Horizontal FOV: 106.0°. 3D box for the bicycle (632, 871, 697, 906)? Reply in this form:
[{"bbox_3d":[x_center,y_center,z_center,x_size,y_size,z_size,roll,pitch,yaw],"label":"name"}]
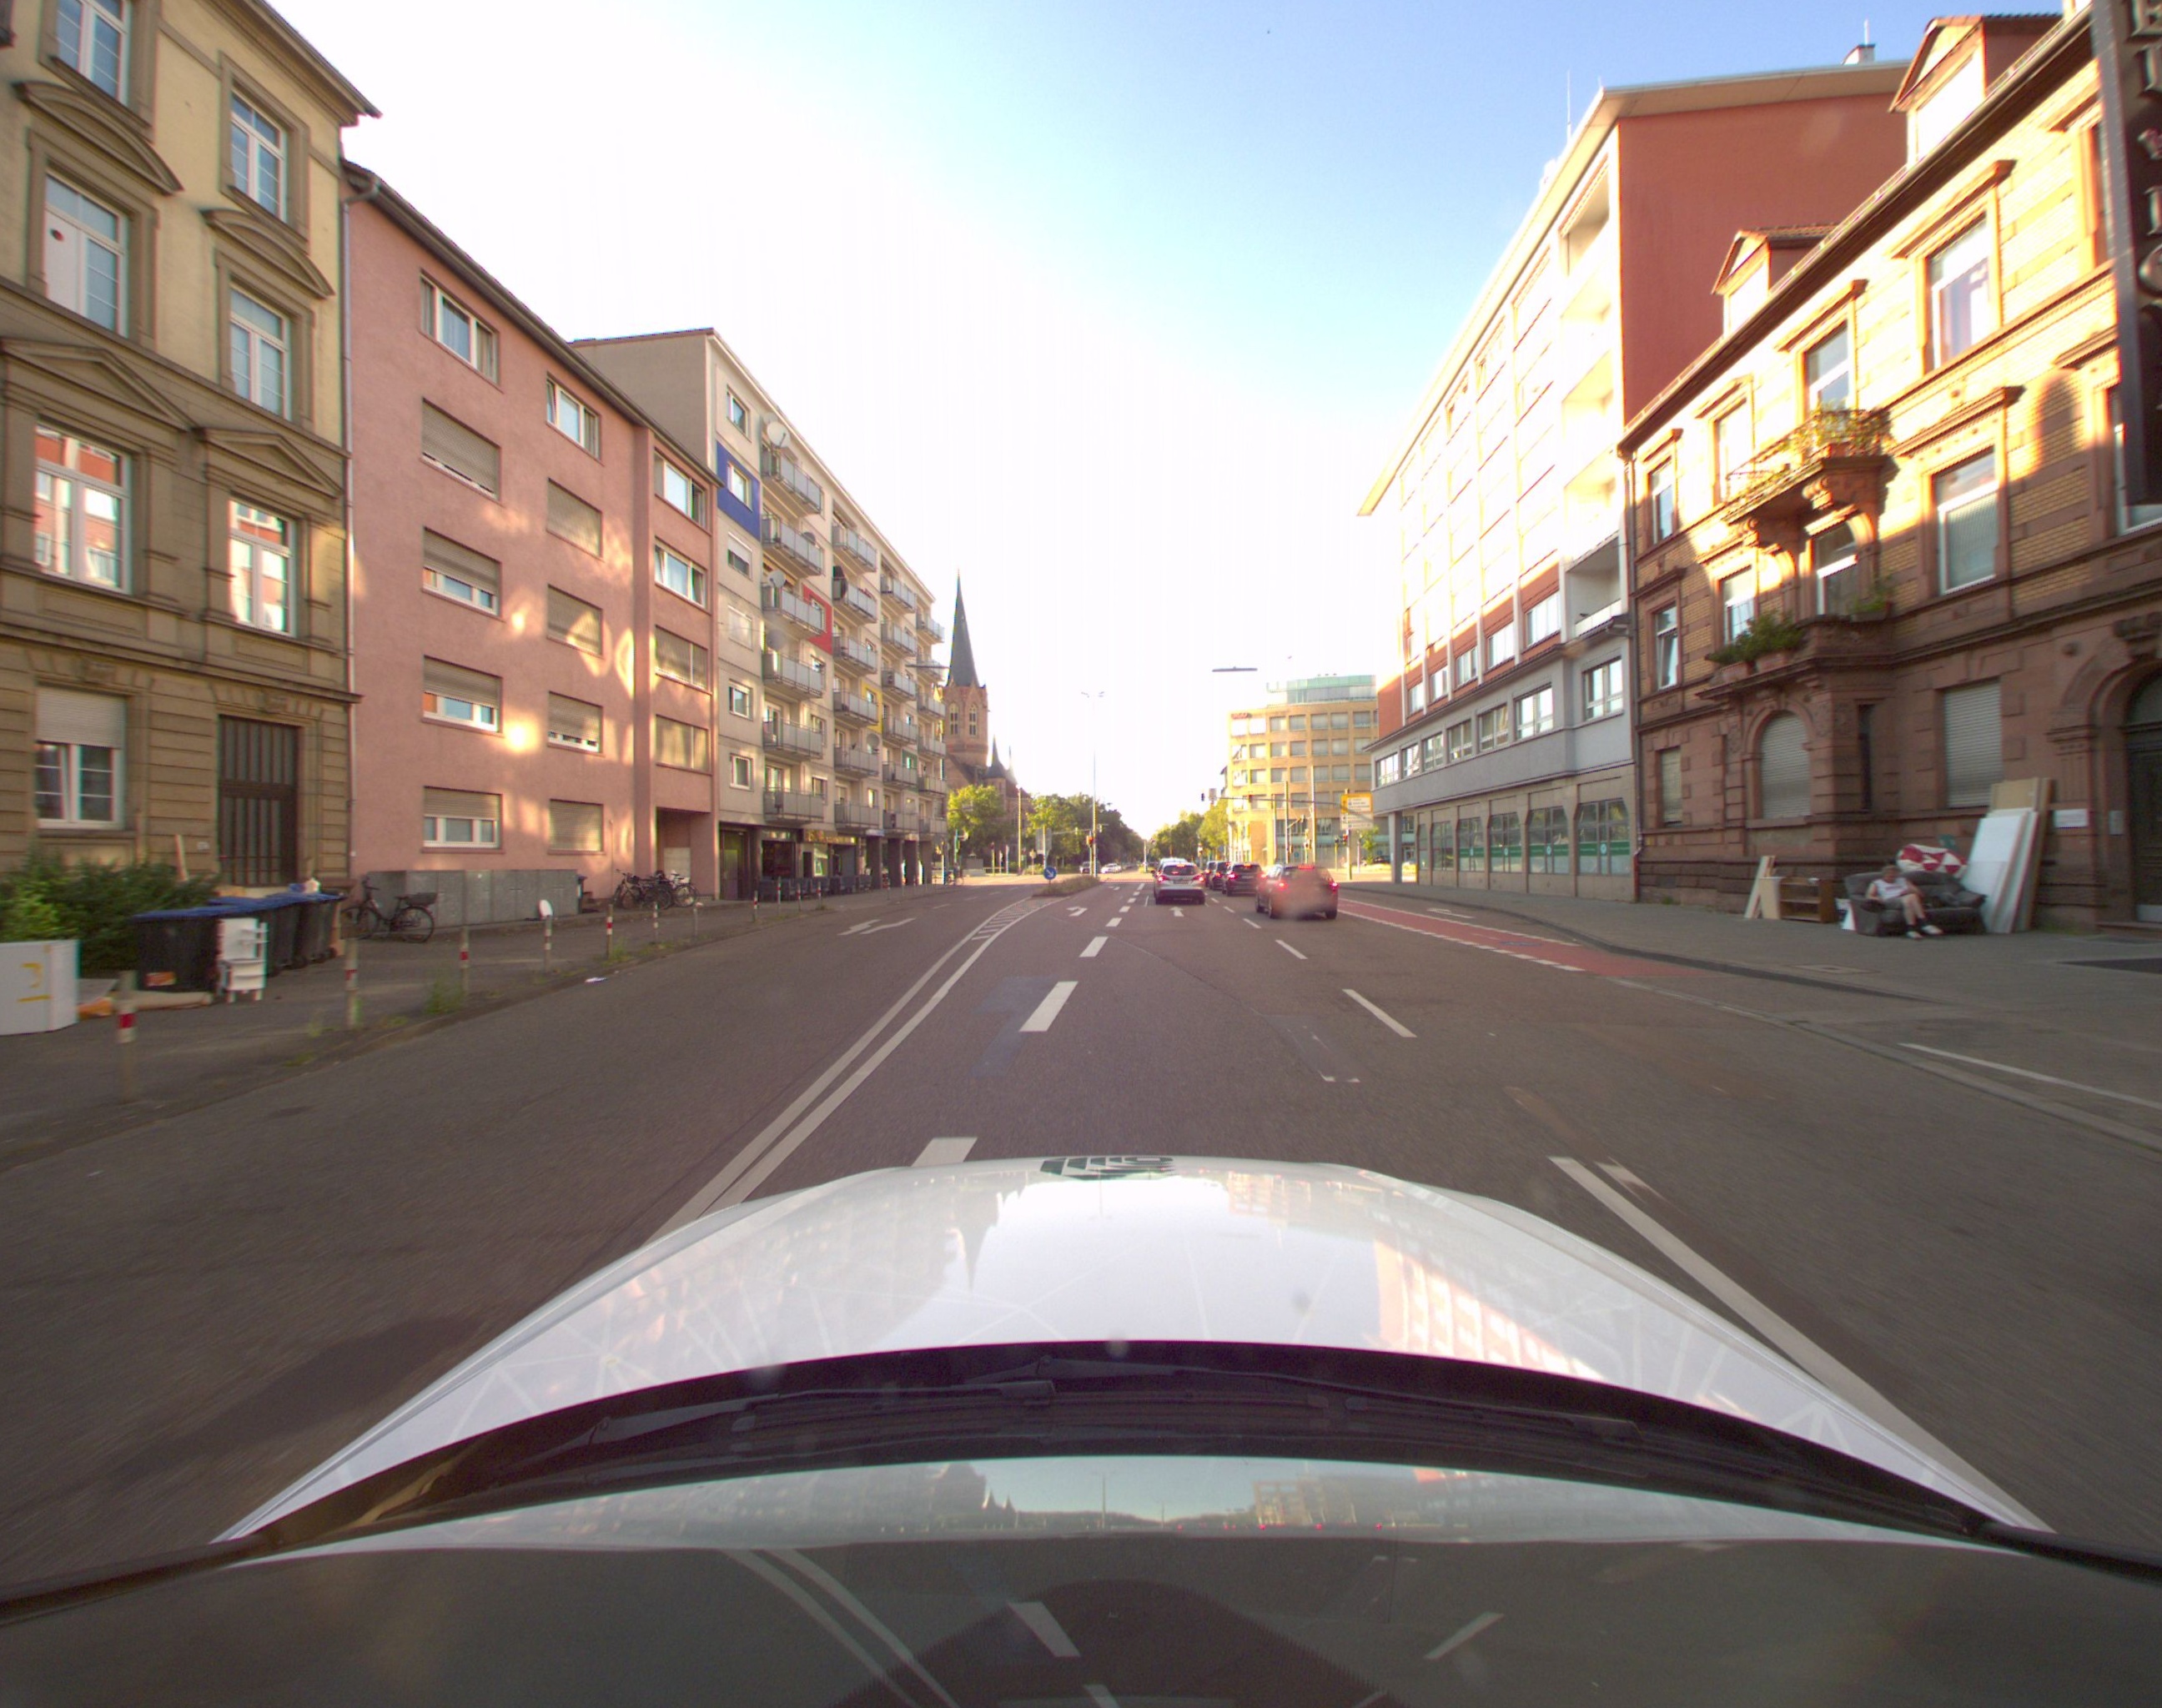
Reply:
[{"bbox_3d":[-12.749,1.050,24.973,1.669,1.041,0.547,0,-1,-10],"label":"bicycle"}]

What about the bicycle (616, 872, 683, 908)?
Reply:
[{"bbox_3d":[-12.784,1.067,24.142,1.665,1.041,0.549,0,-1,-2],"label":"bicycle"}]

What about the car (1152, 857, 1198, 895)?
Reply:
[{"bbox_3d":[4.081,0.938,35.807,1.795,1.568,3.622,-1,0,4],"label":"car"}]

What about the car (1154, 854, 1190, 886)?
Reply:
[{"bbox_3d":[4.844,0.828,43.803,1.776,1.632,4.484,-1,0,4],"label":"car"}]

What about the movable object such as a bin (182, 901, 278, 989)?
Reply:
[{"bbox_3d":[-11.062,1.164,10.608,0.643,1.068,0.622,2,-2,-26],"label":"movable object such as a bin"}]

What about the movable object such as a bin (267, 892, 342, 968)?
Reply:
[{"bbox_3d":[-11.860,1.147,12.461,0.643,1.111,0.579,2,-2,-26],"label":"movable object such as a bin"}]

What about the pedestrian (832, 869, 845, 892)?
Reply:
[{"bbox_3d":[-12.751,1.393,42.812,0.524,1.203,0.548,-1,-1,-27],"label":"pedestrian"}]

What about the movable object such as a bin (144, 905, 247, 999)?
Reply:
[{"bbox_3d":[-10.831,1.178,9.985,0.643,1.083,0.579,2,-2,-26],"label":"movable object such as a bin"}]

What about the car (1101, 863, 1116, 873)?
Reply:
[{"bbox_3d":[3.879,1.961,114.821,1.771,1.236,4.006,-1,0,6],"label":"car"}]

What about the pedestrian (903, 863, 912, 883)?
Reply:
[{"bbox_3d":[-13.550,1.451,63.600,0.466,1.530,0.577,-1,-1,4],"label":"pedestrian"}]

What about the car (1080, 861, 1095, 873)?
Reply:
[{"bbox_3d":[0.919,1.773,115.616,1.771,1.647,4.006,-1,0,6],"label":"car"}]

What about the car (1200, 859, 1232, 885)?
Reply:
[{"bbox_3d":[7.897,1.022,47.752,1.577,1.447,3.652,0,0,5],"label":"car"}]

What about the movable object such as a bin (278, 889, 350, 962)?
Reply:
[{"bbox_3d":[-12.192,1.127,12.965,0.643,1.111,0.579,2,-2,-26],"label":"movable object such as a bin"}]

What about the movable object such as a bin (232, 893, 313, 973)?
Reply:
[{"bbox_3d":[-11.708,1.124,11.813,0.643,1.111,0.579,2,-2,-26],"label":"movable object such as a bin"}]

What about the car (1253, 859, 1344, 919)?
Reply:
[{"bbox_3d":[5.828,0.890,22.295,1.699,1.457,4.164,-1,0,5],"label":"car"}]

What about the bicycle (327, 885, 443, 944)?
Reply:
[{"bbox_3d":[-13.426,1.164,15.737,1.641,0.967,0.663,4,0,3],"label":"bicycle"}]

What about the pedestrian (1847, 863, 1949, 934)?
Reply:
[{"bbox_3d":[12.746,0.680,12.736,0.687,1.043,0.947,-1,-1,8],"label":"pedestrian"}]

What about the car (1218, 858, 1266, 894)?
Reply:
[{"bbox_3d":[7.107,0.944,36.230,1.642,1.484,4.245,0,0,5],"label":"car"}]

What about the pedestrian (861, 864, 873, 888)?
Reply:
[{"bbox_3d":[-12.354,1.290,47.067,0.479,1.384,0.484,-1,-1,25],"label":"pedestrian"}]

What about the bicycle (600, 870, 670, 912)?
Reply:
[{"bbox_3d":[-12.759,1.042,23.332,1.676,1.160,0.493,1,-1,-21],"label":"bicycle"}]

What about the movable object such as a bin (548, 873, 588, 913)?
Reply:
[{"bbox_3d":[-13.686,1.034,21.748,0.672,1.032,0.590,-1,-1,4],"label":"movable object such as a bin"}]

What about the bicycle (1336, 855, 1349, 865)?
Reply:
[{"bbox_3d":[32.259,0.703,100.478,1.509,1.172,0.476,-1,-1,11],"label":"bicycle"}]

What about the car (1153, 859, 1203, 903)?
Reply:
[{"bbox_3d":[3.530,0.940,30.036,1.699,1.510,4.315,0,0,5],"label":"car"}]

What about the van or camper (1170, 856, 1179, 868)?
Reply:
[{"bbox_3d":[22.209,1.899,193.464,1.983,2.640,5.360,-1,0,7],"label":"van or camper"}]

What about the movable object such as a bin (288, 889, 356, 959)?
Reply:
[{"bbox_3d":[-12.566,1.148,13.509,0.643,1.111,0.579,2,-2,-26],"label":"movable object such as a bin"}]

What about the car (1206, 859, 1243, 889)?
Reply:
[{"bbox_3d":[7.391,1.004,42.204,1.482,1.505,3.482,-1,0,4],"label":"car"}]

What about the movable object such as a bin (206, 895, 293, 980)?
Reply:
[{"bbox_3d":[-11.438,1.129,11.227,0.643,1.111,0.579,2,-2,-26],"label":"movable object such as a bin"}]

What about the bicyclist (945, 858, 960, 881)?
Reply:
[{"bbox_3d":[-9.061,1.090,57.492,0.778,1.660,0.902,-1,-1,5],"label":"bicyclist"}]

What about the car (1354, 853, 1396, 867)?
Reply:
[{"bbox_3d":[34.338,0.704,95.113,4.206,1.614,2.004,-1,-1,6],"label":"car"}]

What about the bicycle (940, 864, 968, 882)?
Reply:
[{"bbox_3d":[-8.888,1.333,56.923,1.819,1.188,0.735,-1,-1,4],"label":"bicycle"}]
